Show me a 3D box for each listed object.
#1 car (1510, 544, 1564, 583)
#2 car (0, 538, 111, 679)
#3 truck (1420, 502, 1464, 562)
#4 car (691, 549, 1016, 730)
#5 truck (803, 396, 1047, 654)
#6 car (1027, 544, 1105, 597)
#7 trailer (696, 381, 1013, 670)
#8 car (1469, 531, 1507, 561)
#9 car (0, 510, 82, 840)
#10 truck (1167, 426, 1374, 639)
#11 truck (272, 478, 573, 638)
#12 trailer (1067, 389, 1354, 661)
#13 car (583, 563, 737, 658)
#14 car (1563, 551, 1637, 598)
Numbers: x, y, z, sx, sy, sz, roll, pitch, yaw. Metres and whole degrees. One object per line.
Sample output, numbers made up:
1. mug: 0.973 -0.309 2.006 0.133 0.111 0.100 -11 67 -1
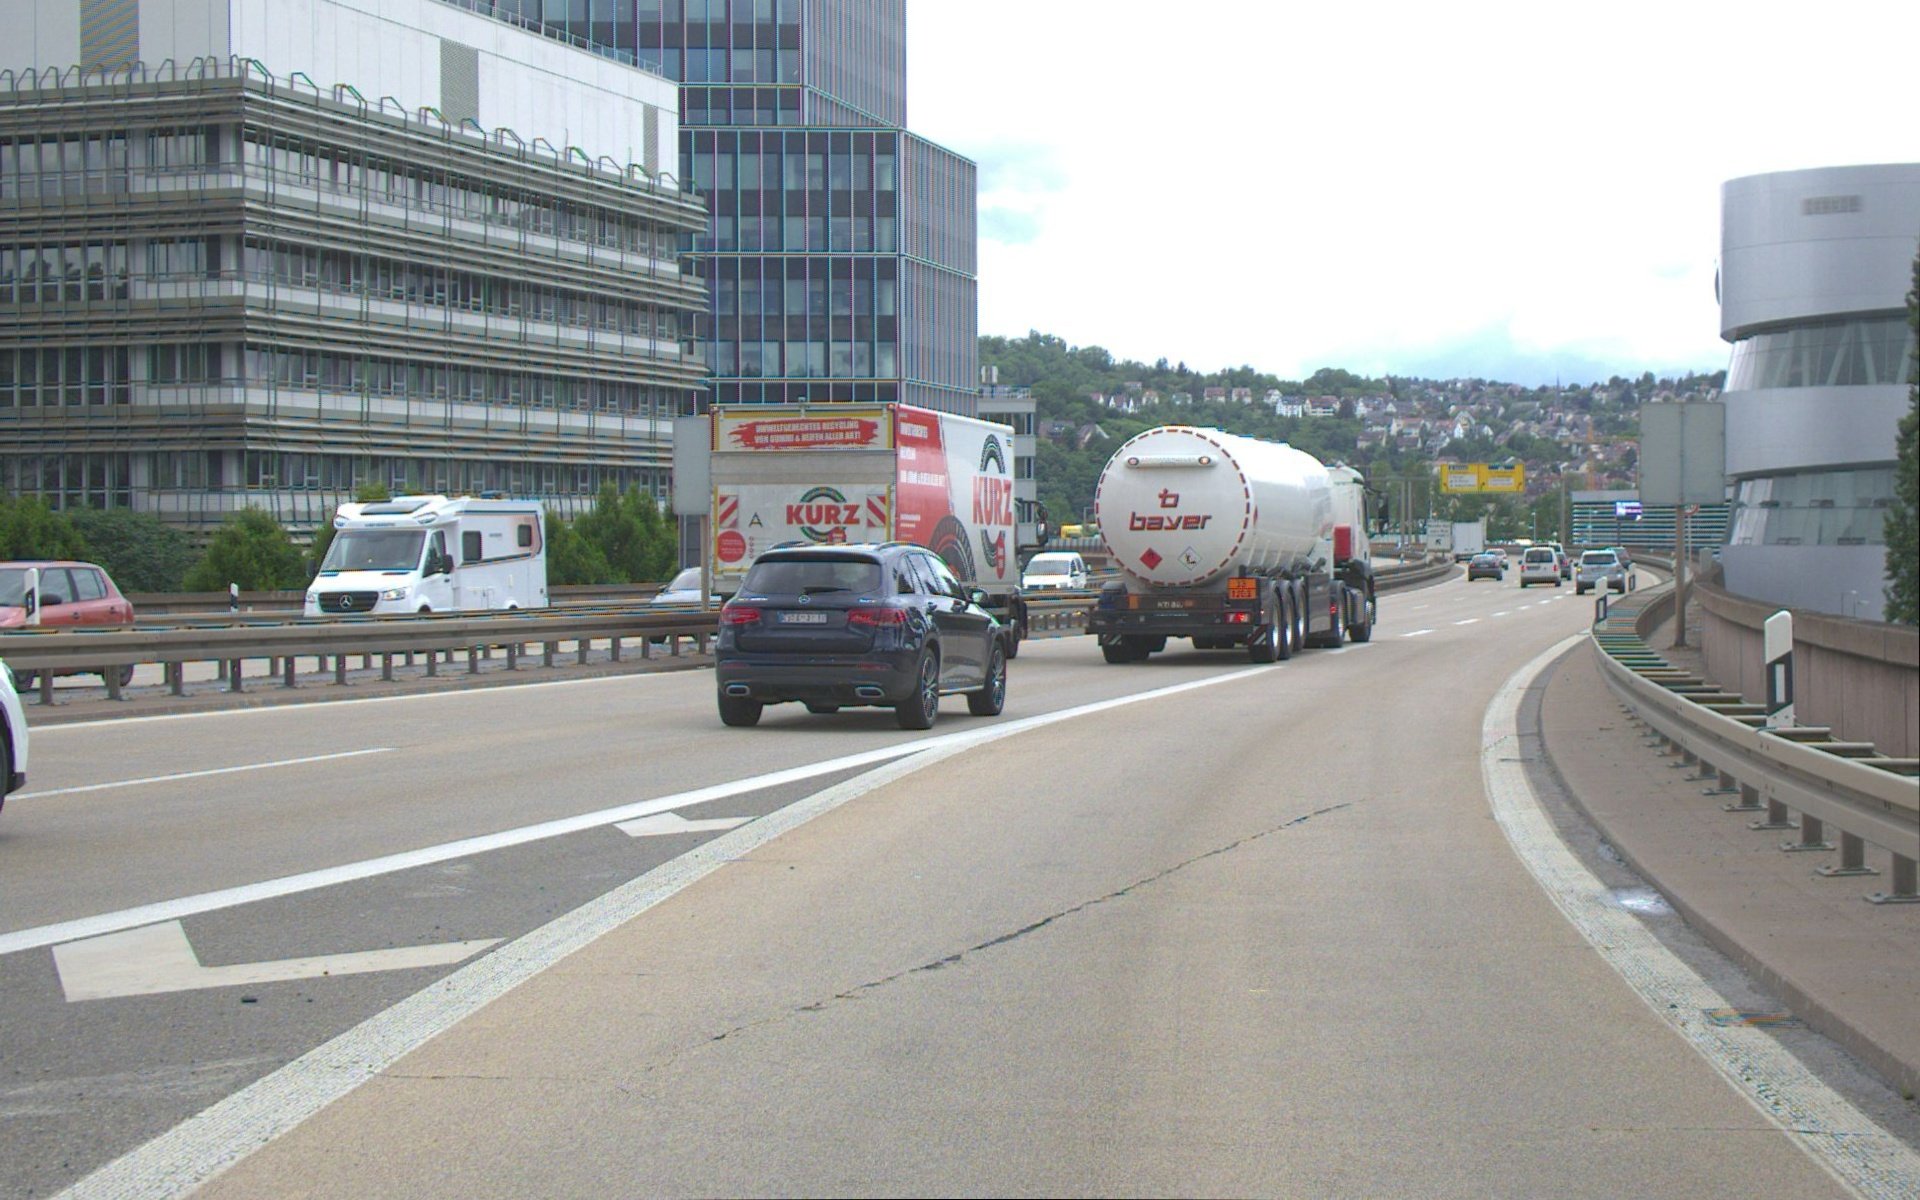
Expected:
1. car: 26.439 -1.659 157.479 1.995 1.533 3.997 5 1 14
2. car: -11.154 0.111 38.359 1.696 1.546 3.640 -2 0 15
3. truck: 32.159 -4.540 229.259 2.396 3.880 5.940 -2 1 12
4. car: -0.884 0.303 31.256 1.848 1.499 4.263 1 1 14
5. truck: -0.463 -1.127 52.369 2.692 3.677 4.437 -2 1 12
6. car: 3.635 -1.034 117.561 1.868 1.706 4.599 -2 1 11
7. trailer: -1.330 -1.040 48.309 2.692 3.677 7.309 -2 1 12
8. car: 28.596 -2.923 186.112 1.994 1.533 3.998 0 0 9
9. car: -6.235 0.362 15.963 1.995 1.663 4.888 2 1 15
10. truck: 5.453 -1.162 59.538 2.770 3.418 5.962 -2 1 12
11. truck: -9.434 -0.781 61.254 2.492 2.617 7.343 -2 1 15
12. trailer: 4.114 -1.156 53.535 2.793 3.724 11.149 -2 1 12
13. car: -5.363 0.169 61.916 1.645 1.580 3.717 -2 1 13
14. car: 24.381 -0.947 130.961 1.996 1.532 3.996 6 1 20
